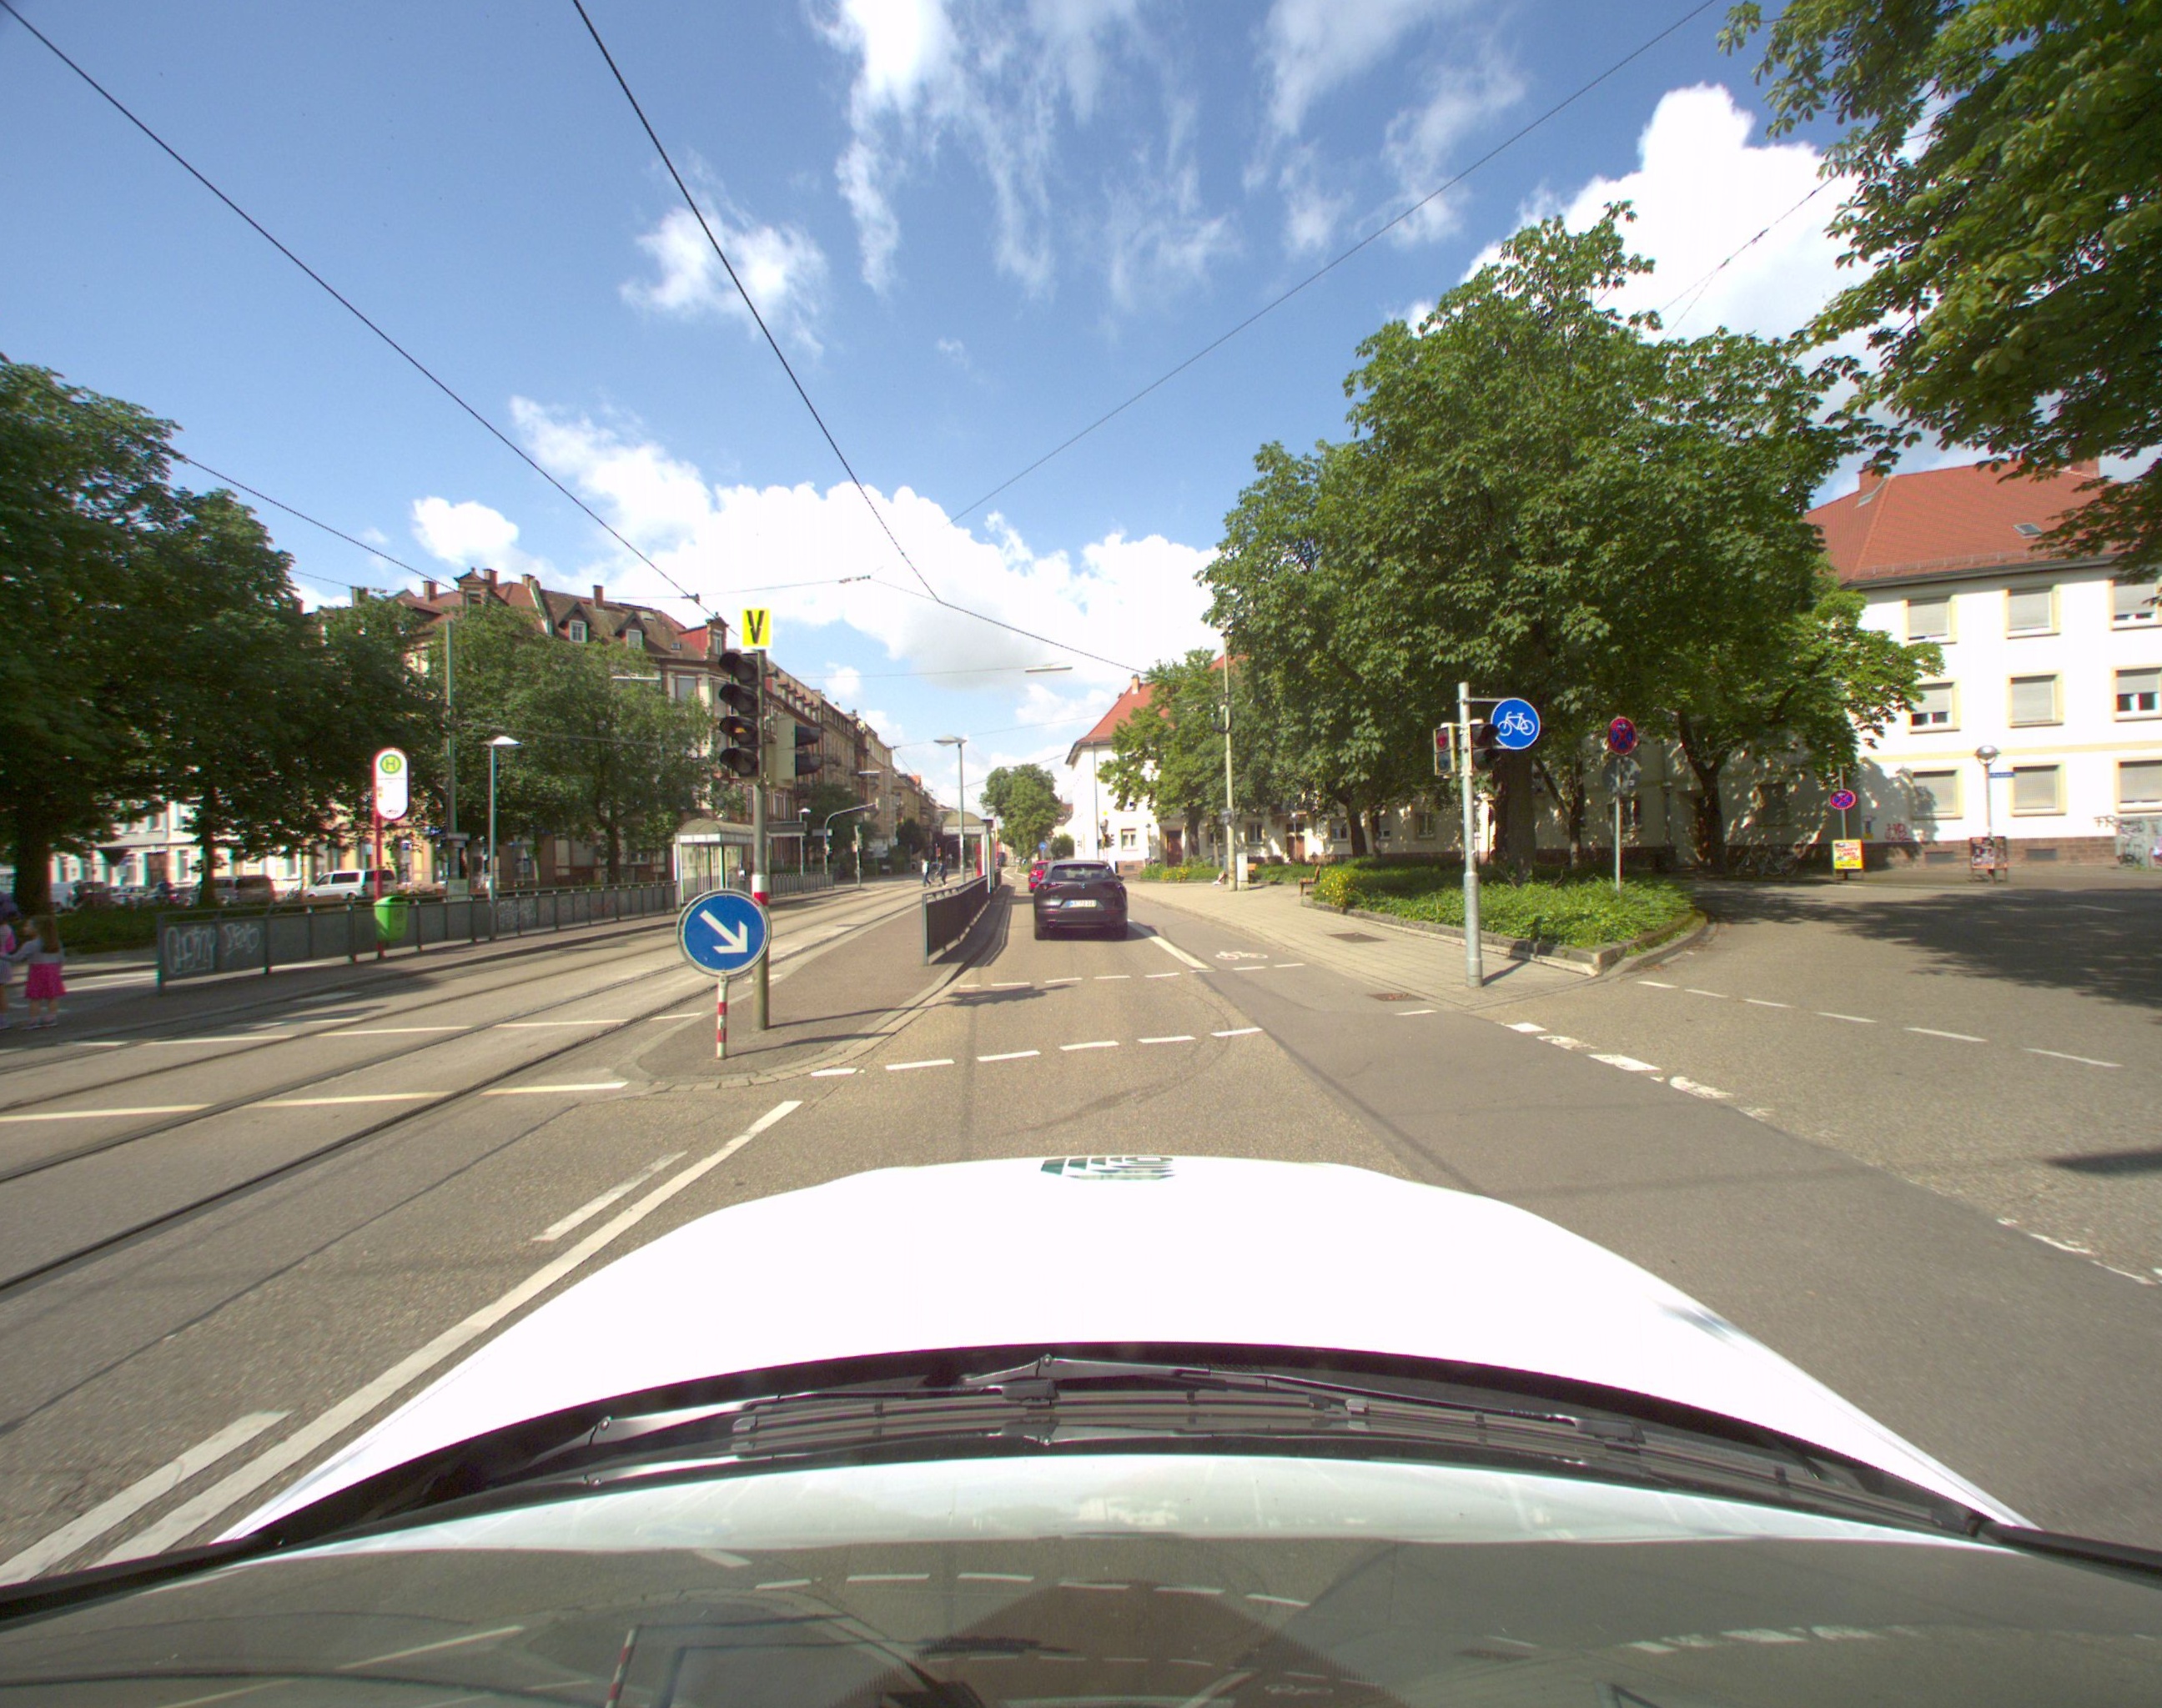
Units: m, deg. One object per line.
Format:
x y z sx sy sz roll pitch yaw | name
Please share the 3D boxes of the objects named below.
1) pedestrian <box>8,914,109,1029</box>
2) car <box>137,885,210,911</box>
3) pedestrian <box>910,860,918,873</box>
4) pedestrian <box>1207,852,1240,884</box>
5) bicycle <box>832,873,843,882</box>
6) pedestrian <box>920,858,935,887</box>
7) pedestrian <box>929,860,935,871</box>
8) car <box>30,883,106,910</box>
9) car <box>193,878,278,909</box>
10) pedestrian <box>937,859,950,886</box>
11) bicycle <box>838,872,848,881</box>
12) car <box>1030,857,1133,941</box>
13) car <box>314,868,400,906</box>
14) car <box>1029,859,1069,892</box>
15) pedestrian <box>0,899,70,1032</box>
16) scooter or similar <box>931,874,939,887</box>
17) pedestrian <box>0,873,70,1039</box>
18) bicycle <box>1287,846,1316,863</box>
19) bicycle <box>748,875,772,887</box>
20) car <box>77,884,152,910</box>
-10.620 1.205 8.470 0.437 1.108 0.422 -4 0 -9 | pedestrian
-55.128 2.676 49.466 3.654 1.393 1.500 -2 0 16 | car
-21.765 1.674 106.075 0.786 1.688 0.731 -2 0 -3 | pedestrian
5.981 0.584 34.141 1.192 1.269 0.556 -4 0 -9 | pedestrian
-21.144 2.042 70.806 0.384 0.653 1.711 -2 0 0 | bicycle
-9.149 1.086 48.558 0.769 1.674 0.666 -2 0 -5 | pedestrian
-23.144 1.793 126.139 0.786 1.688 0.731 -2 0 -3 | pedestrian
-64.953 2.734 52.219 3.876 1.555 1.725 -2 0 17 | car
-49.841 2.315 48.031 3.896 1.663 1.925 -2 0 18 | car
-8.075 1.086 47.957 0.666 1.546 0.580 -2 0 -5 | pedestrian
-21.359 2.016 73.000 0.384 0.677 1.711 -2 0 0 | bicycle
-0.115 0.843 16.792 1.779 1.514 3.993 0 -1 -5 | car
-40.338 1.841 45.374 3.903 1.988 1.865 -2 0 19 | car
-1.537 0.960 37.835 1.772 1.464 3.837 0 0 -4 | car
-11.341 1.166 8.392 0.825 1.303 0.715 -4 0 -9 | pedestrian
-8.603 1.542 47.921 0.413 0.721 0.485 -2 0 -5 | scooter or similar
-10.653 0.986 7.871 0.728 1.565 0.797 -2 -1 -9 | pedestrian
14.335 0.042 53.002 0.570 1.020 1.732 -4 1 -41 | bicycle
-23.864 2.003 60.574 0.381 0.747 1.722 -2 0 32 | bicycle
-60.363 2.691 50.879 3.607 1.494 1.637 -2 0 16 | car
